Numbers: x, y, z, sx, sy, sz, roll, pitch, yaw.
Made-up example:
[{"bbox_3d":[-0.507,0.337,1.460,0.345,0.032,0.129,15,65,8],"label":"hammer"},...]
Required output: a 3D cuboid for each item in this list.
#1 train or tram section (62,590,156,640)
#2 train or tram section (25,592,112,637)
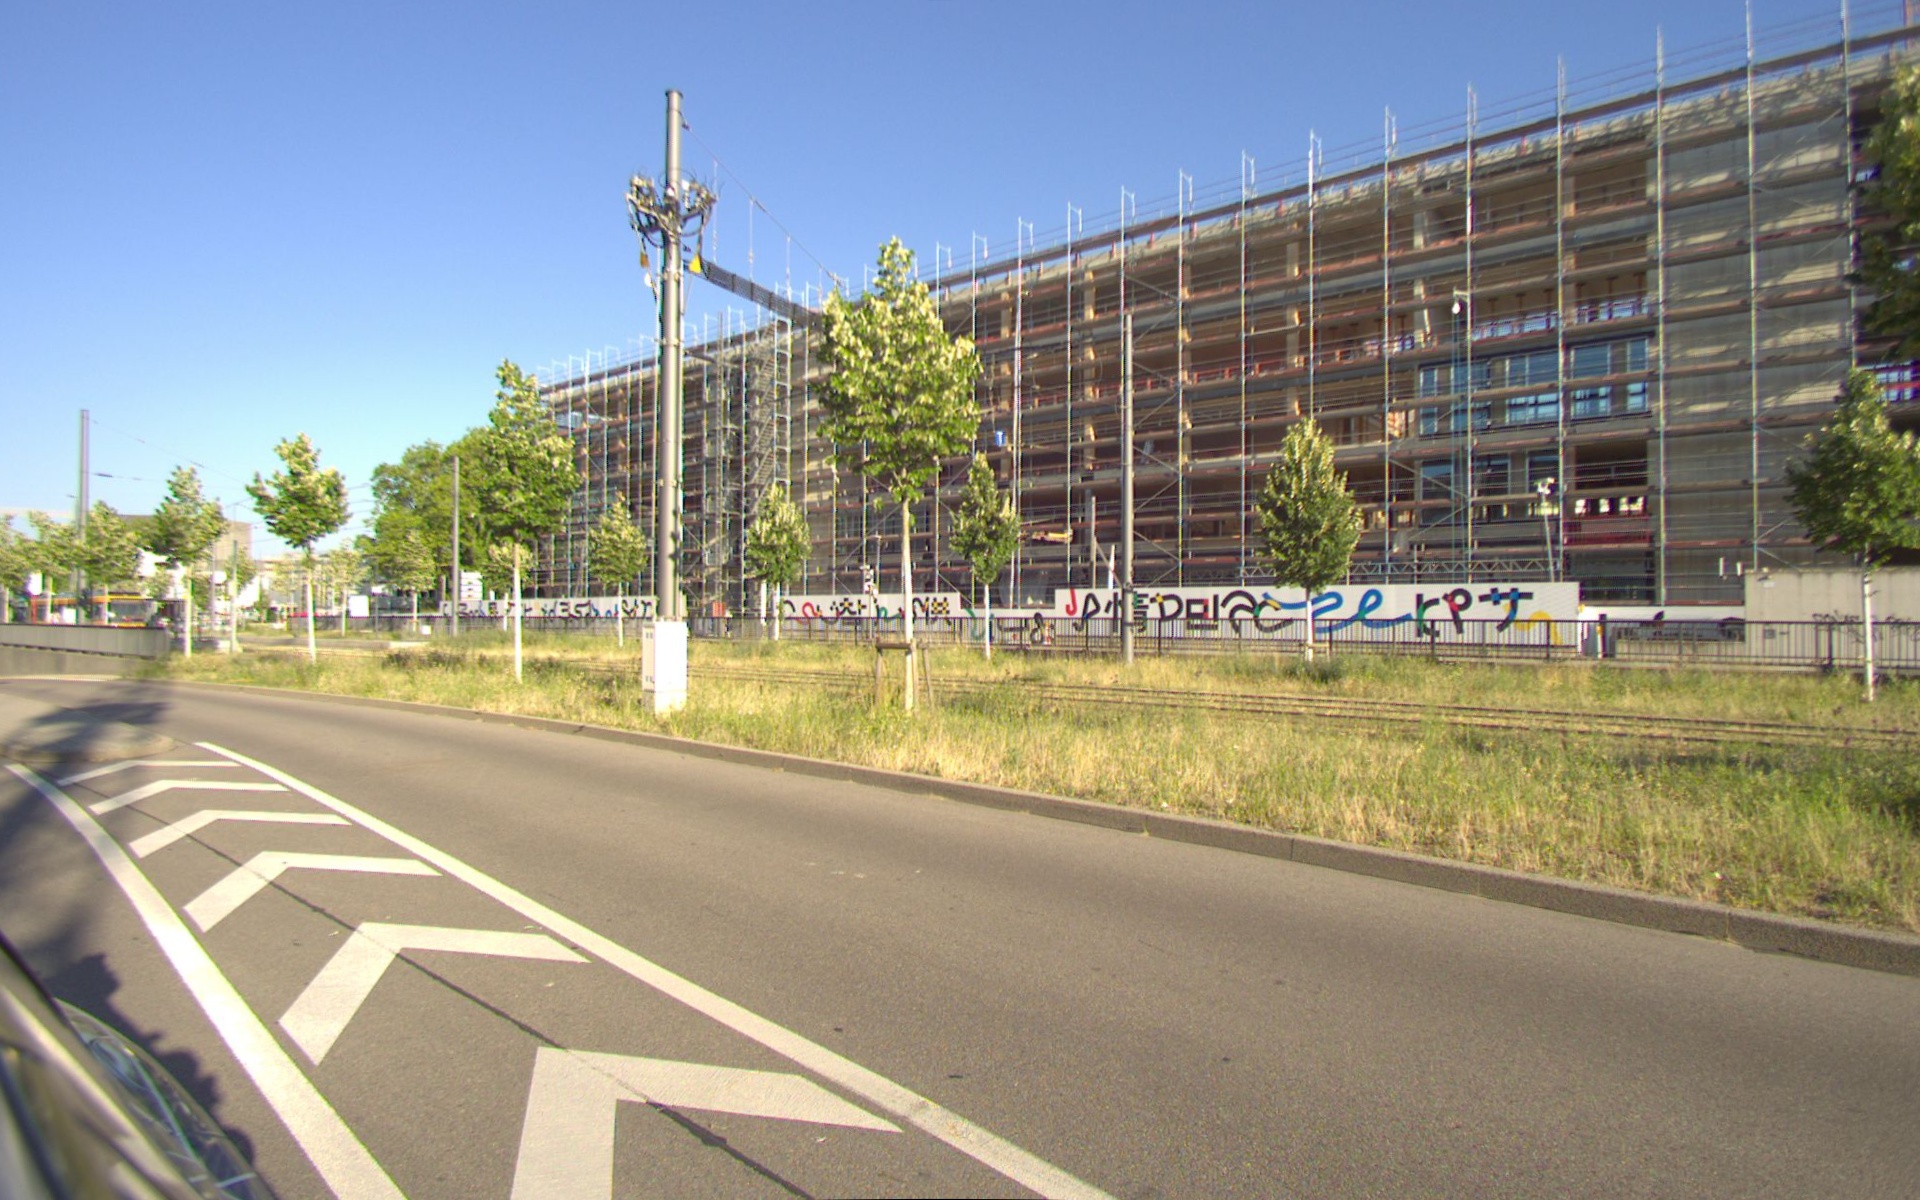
[{"bbox_3d":[-62.684,1.085,74.374,12.619,3.423,2.917,-1,0,39],"label":"train or tram section"},{"bbox_3d":[-73.289,1.183,82.988,14.749,3.423,2.917,-1,0,39],"label":"train or tram section"}]
